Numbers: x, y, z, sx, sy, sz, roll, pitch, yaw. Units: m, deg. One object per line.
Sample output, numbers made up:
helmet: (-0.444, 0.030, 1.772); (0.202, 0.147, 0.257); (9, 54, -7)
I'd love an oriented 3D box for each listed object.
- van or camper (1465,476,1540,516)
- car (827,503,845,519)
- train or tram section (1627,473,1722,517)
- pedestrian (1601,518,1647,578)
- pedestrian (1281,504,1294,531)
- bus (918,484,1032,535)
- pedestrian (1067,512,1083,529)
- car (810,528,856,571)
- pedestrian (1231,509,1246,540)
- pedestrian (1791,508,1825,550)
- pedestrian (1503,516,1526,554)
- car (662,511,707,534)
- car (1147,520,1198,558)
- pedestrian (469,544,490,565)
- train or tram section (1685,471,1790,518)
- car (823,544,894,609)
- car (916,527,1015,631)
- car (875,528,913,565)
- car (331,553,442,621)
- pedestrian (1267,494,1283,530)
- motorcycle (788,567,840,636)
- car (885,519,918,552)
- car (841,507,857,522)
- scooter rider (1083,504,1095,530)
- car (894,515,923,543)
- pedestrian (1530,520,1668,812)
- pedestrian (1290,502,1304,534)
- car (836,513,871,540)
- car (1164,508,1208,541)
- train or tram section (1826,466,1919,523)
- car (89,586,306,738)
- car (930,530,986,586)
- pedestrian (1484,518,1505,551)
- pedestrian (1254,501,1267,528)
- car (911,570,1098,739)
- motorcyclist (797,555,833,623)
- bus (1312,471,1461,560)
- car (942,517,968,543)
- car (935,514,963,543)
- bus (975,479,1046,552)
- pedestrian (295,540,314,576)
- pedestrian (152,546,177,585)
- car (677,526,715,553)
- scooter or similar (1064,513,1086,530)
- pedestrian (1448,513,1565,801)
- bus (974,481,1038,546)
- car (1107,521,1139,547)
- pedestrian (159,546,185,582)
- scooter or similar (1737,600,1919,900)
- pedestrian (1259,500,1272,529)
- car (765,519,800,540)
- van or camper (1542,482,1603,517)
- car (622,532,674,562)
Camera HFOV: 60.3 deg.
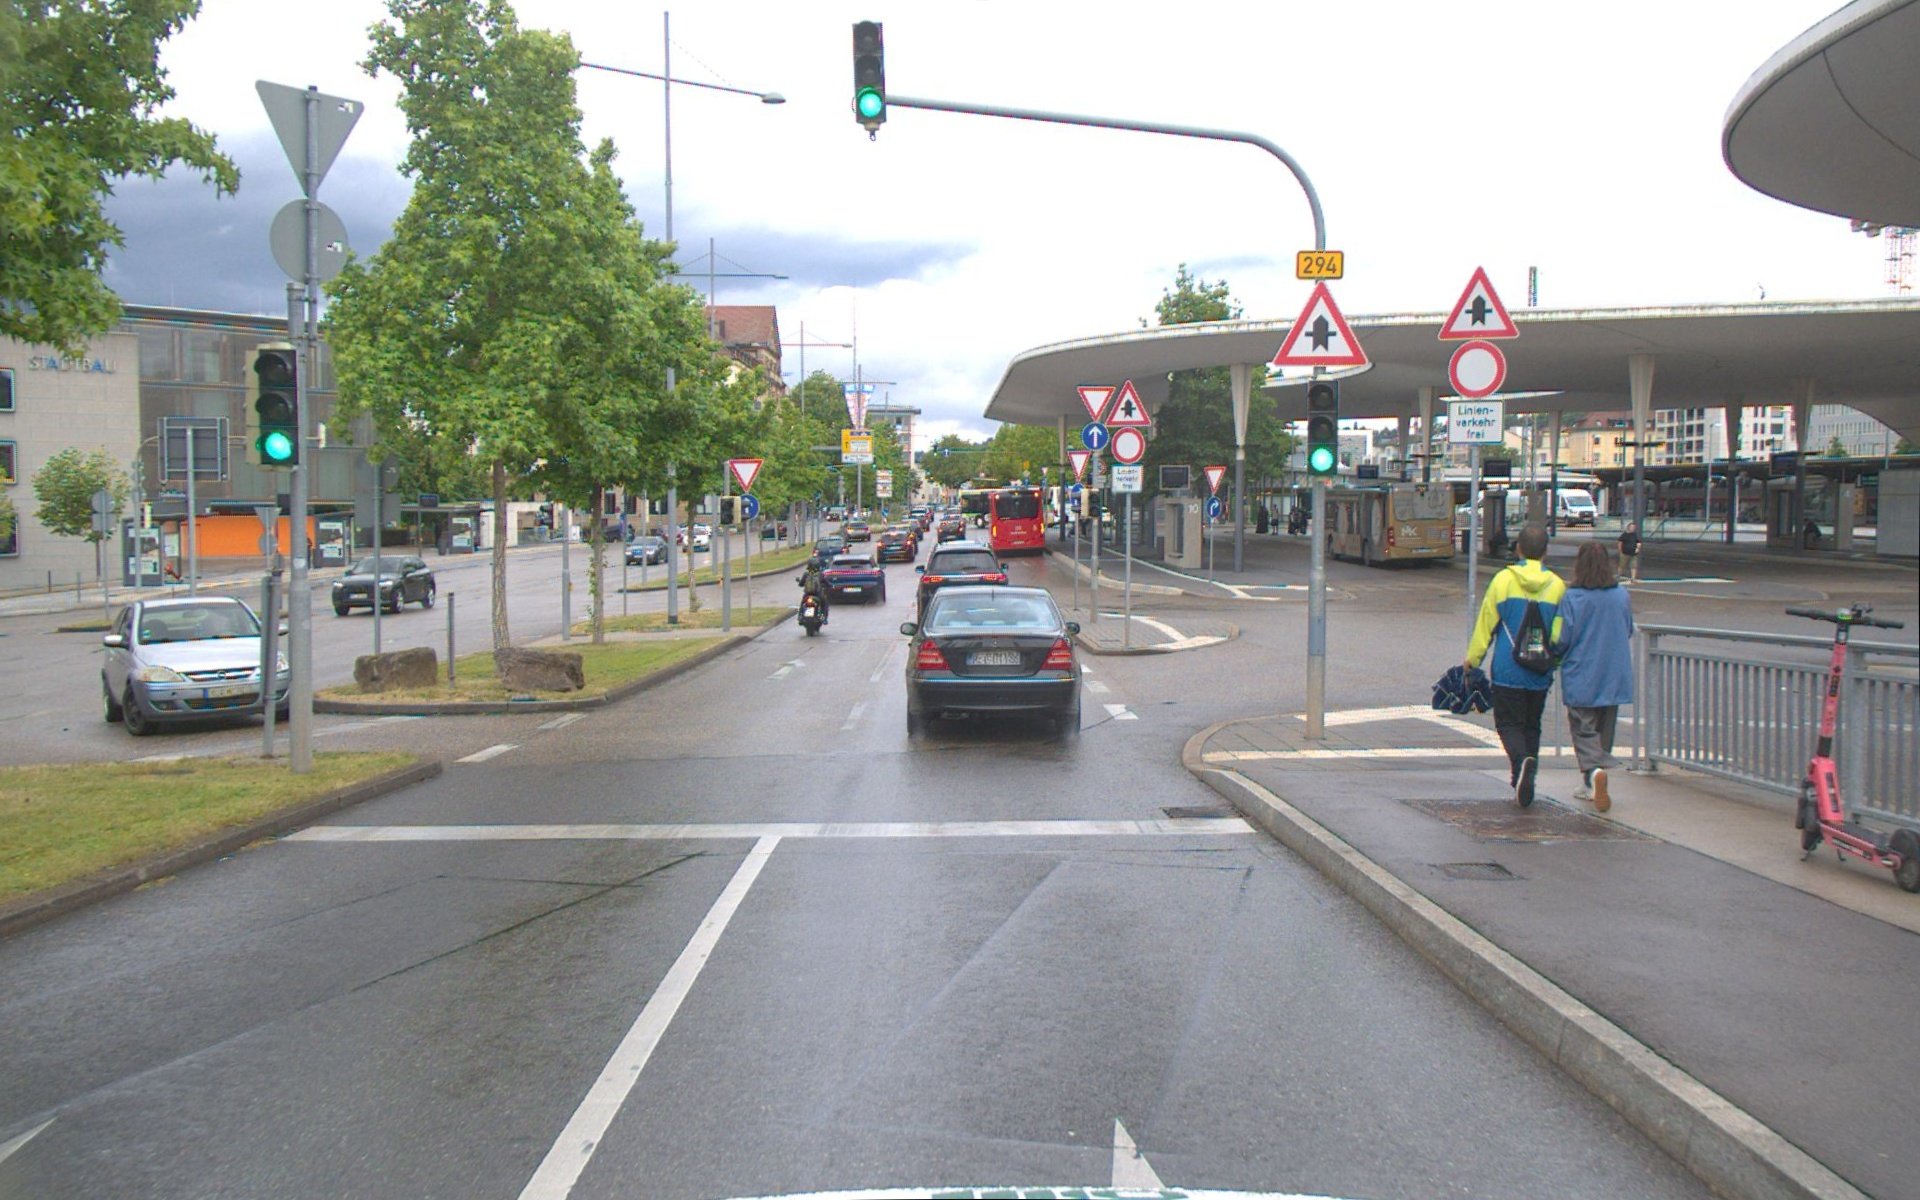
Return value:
van or camper: (38.497, -7.376, 117.403); (4.514, 2.602, 2.118); (2, 1, -2)
car: (-14.062, -10.087, 187.479); (1.744, 1.593, 3.431); (-3, 4, 0)
train or tram section: (65.797, -9.678, 152.794); (3.068, 3.722, 12.326); (2, 4, -1)
pedestrian: (19.491, -1.526, 48.565); (0.709, 1.712, 1.013); (-4, 3, -26)
pedestrian: (20.116, -5.055, 101.526); (0.569, 1.605, 0.559); (2, 0, 34)
bus: (1.142, -7.532, 139.093); (2.820, 4.056, 11.696); (-4, 4, -39)
pedestrian: (6.992, -4.818, 100.757); (0.894, 1.002, 0.634); (0, -1, 13)
car: (-5.572, -2.251, 72.769); (1.642, 1.651, 3.872); (-3, 4, 0)
pedestrian: (14.690, -3.958, 87.199); (0.587, 1.609, 0.710); (-1, 1, -9)
pedestrian: (33.459, -2.804, 65.242); (0.779, 1.613, 0.907); (0, 2, -7)
pedestrian: (21.066, -2.468, 62.848); (0.776, 1.401, 0.634); (-1, 3, 17)
car: (-23.195, -6.513, 139.232); (3.565, 1.836, 1.642); (2, 0, 34)
car: (8.917, -2.595, 69.572); (1.614, 1.478, 3.237); (-1, 4, -2)
pedestrian: (-30.600, -2.914, 105.371); (0.955, 1.289, 0.850); (4, 5, 20)
train or tram section: (66.013, -8.962, 140.863); (3.068, 3.722, 11.618); (2, 4, -1)
car: (-2.963, -0.739, 48.944); (1.779, 1.597, 4.405); (-3, 4, 0)
car: (0.100, -0.531, 36.250); (1.917, 1.907, 4.875); (-3, 4, 0)
car: (-3.148, -2.597, 79.630); (1.543, 1.530, 3.873); (-3, 4, 0)
car: (-17.101, -0.451, 49.579); (1.871, 1.690, 4.857); (-1, 4, -4)
pedestrian: (18.627, -5.216, 97.806); (0.709, 2.049, 0.669); (2, 0, 26)
motorcycle: (-3.028, 0.016, 34.490); (0.776, 1.283, 1.856); (-3, 4, 3)
car: (-3.104, -3.470, 88.409); (1.543, 1.593, 3.872); (-3, 4, 0)
car: (-12.952, -10.047, 193.370); (1.543, 1.593, 3.431); (-3, 4, 0)
scooter rider: (7.878, -5.055, 100.714); (0.579, 1.515, 0.765); (-1, 3, 13)
car: (-3.488, -4.787, 112.342); (1.828, 1.713, 3.999); (2, 1, -1)
pedestrian: (3.859, 0.391, 10.022); (0.577, 1.700, 0.580); (2, -1, -1)
pedestrian: (18.183, -4.443, 89.234); (0.549, 1.721, 0.613); (-1, 3, -7)
car: (-7.442, -5.125, 115.544); (1.833, 1.713, 3.989); (2, 1, -12)
car: (12.274, -4.125, 90.037); (1.677, 1.690, 4.240); (0, 3, -1)
train or tram section: (66.371, -7.453, 117.662); (3.068, 3.741, 11.618); (2, 3, -1)
car: (-8.838, 0.640, 19.020); (1.618, 1.473, 3.830); (-4, 2, -34)
car: (-0.079, -1.429, 54.520); (1.706, 1.593, 3.872); (-3, 4, 0)
pedestrian: (20.997, -2.575, 65.002); (0.776, 1.247, 0.634); (-1, 3, 17)
pedestrian: (18.363, -5.220, 101.043); (0.568, 1.605, 0.560); (2, 0, 29)
car: (0.368, 0.445, 16.891); (1.663, 1.487, 4.303); (0, 1, -1)
motorcyclist: (-3.030, -0.231, 34.628); (0.628, 1.370, 0.689); (-2, 3, 3)
bus: (16.615, -3.412, 65.474); (2.666, 3.095, 12.092); (-2, 3, 0)
car: (-0.407, -5.149, 122.129); (1.828, 1.713, 3.999); (2, 1, -1)
car: (-0.671, -4.354, 100.554); (1.543, 1.593, 3.872); (-3, 4, 0)
bus: (2.447, -4.328, 83.458); (3.219, 3.348, 10.882); (-2, 4, 0)
pedestrian: (-31.322, -2.013, 79.062); (0.464, 1.712, 0.764); (-2, 3, 6)
pedestrian: (-31.573, -1.365, 65.653); (0.664, 1.494, 0.626); (-1, 3, -3)
car: (-17.528, -4.017, 110.108); (1.809, 1.681, 4.420); (-1, 3, -1)
scooter or similar: (7.025, -4.809, 100.939); (1.216, 1.030, 0.765); (-1, 3, 13)
pedestrian: (3.323, 0.337, 10.083); (0.512, 1.699, 0.580); (0, 0, -1)
bus: (2.480, -4.855, 92.068); (3.224, 3.345, 8.853); (-2, 4, 0)
car: (11.047, -4.481, 112.190); (1.677, 1.690, 4.240); (0, 3, -1)
pedestrian: (-31.639, -1.447, 66.431); (0.664, 1.416, 0.721); (-1, 3, -3)
scooter or similar: (4.208, 0.628, 7.479); (0.454, 1.242, 1.859); (-1, 0, -1)
pedestrian: (18.838, -5.258, 101.926); (0.569, 1.745, 0.559); (2, 0, 34)
car: (-13.966, -5.553, 129.972); (1.704, 1.588, 3.742); (-1, 2, -23)
van or camper: (41.022, -6.708, 110.913); (1.953, 2.139, 5.480); (2, 2, -1)
car: (-16.953, -2.915, 90.137); (1.809, 1.530, 4.921); (-1, 3, 0)
